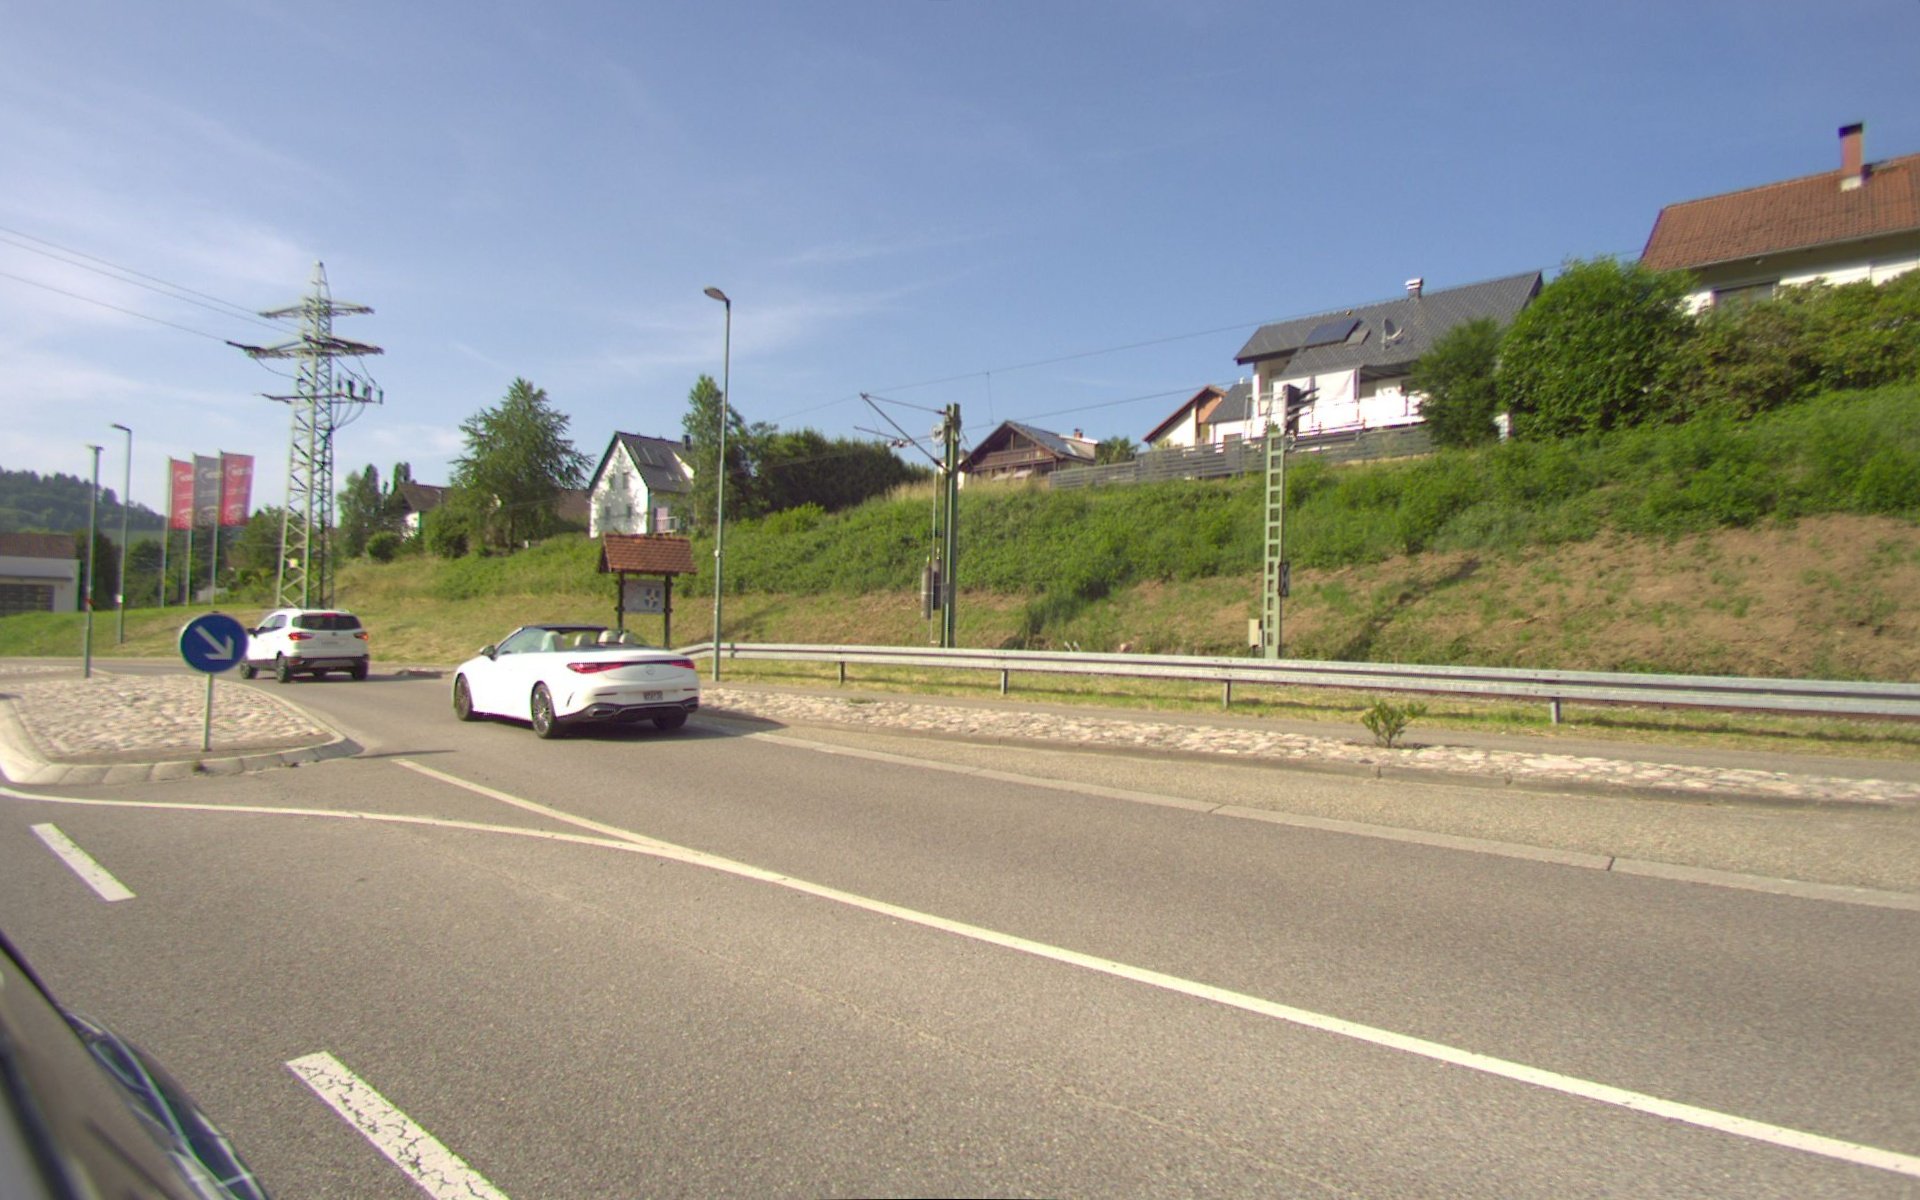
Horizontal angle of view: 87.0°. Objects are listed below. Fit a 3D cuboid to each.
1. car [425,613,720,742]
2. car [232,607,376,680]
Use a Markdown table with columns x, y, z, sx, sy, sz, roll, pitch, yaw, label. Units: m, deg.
| x | y | z | sx | sy | sz | roll | pitch | yaw | label |
| --- | --- | --- | --- | --- | --- | --- | --- | --- | --- |
| -5.300 | 0.891 | 13.448 | 4.827 | 1.410 | 1.762 | -1 | -1 | 43 | car |
| -15.437 | 0.965 | 23.756 | 3.997 | 1.572 | 1.746 | -1 | -1 | 40 | car |
